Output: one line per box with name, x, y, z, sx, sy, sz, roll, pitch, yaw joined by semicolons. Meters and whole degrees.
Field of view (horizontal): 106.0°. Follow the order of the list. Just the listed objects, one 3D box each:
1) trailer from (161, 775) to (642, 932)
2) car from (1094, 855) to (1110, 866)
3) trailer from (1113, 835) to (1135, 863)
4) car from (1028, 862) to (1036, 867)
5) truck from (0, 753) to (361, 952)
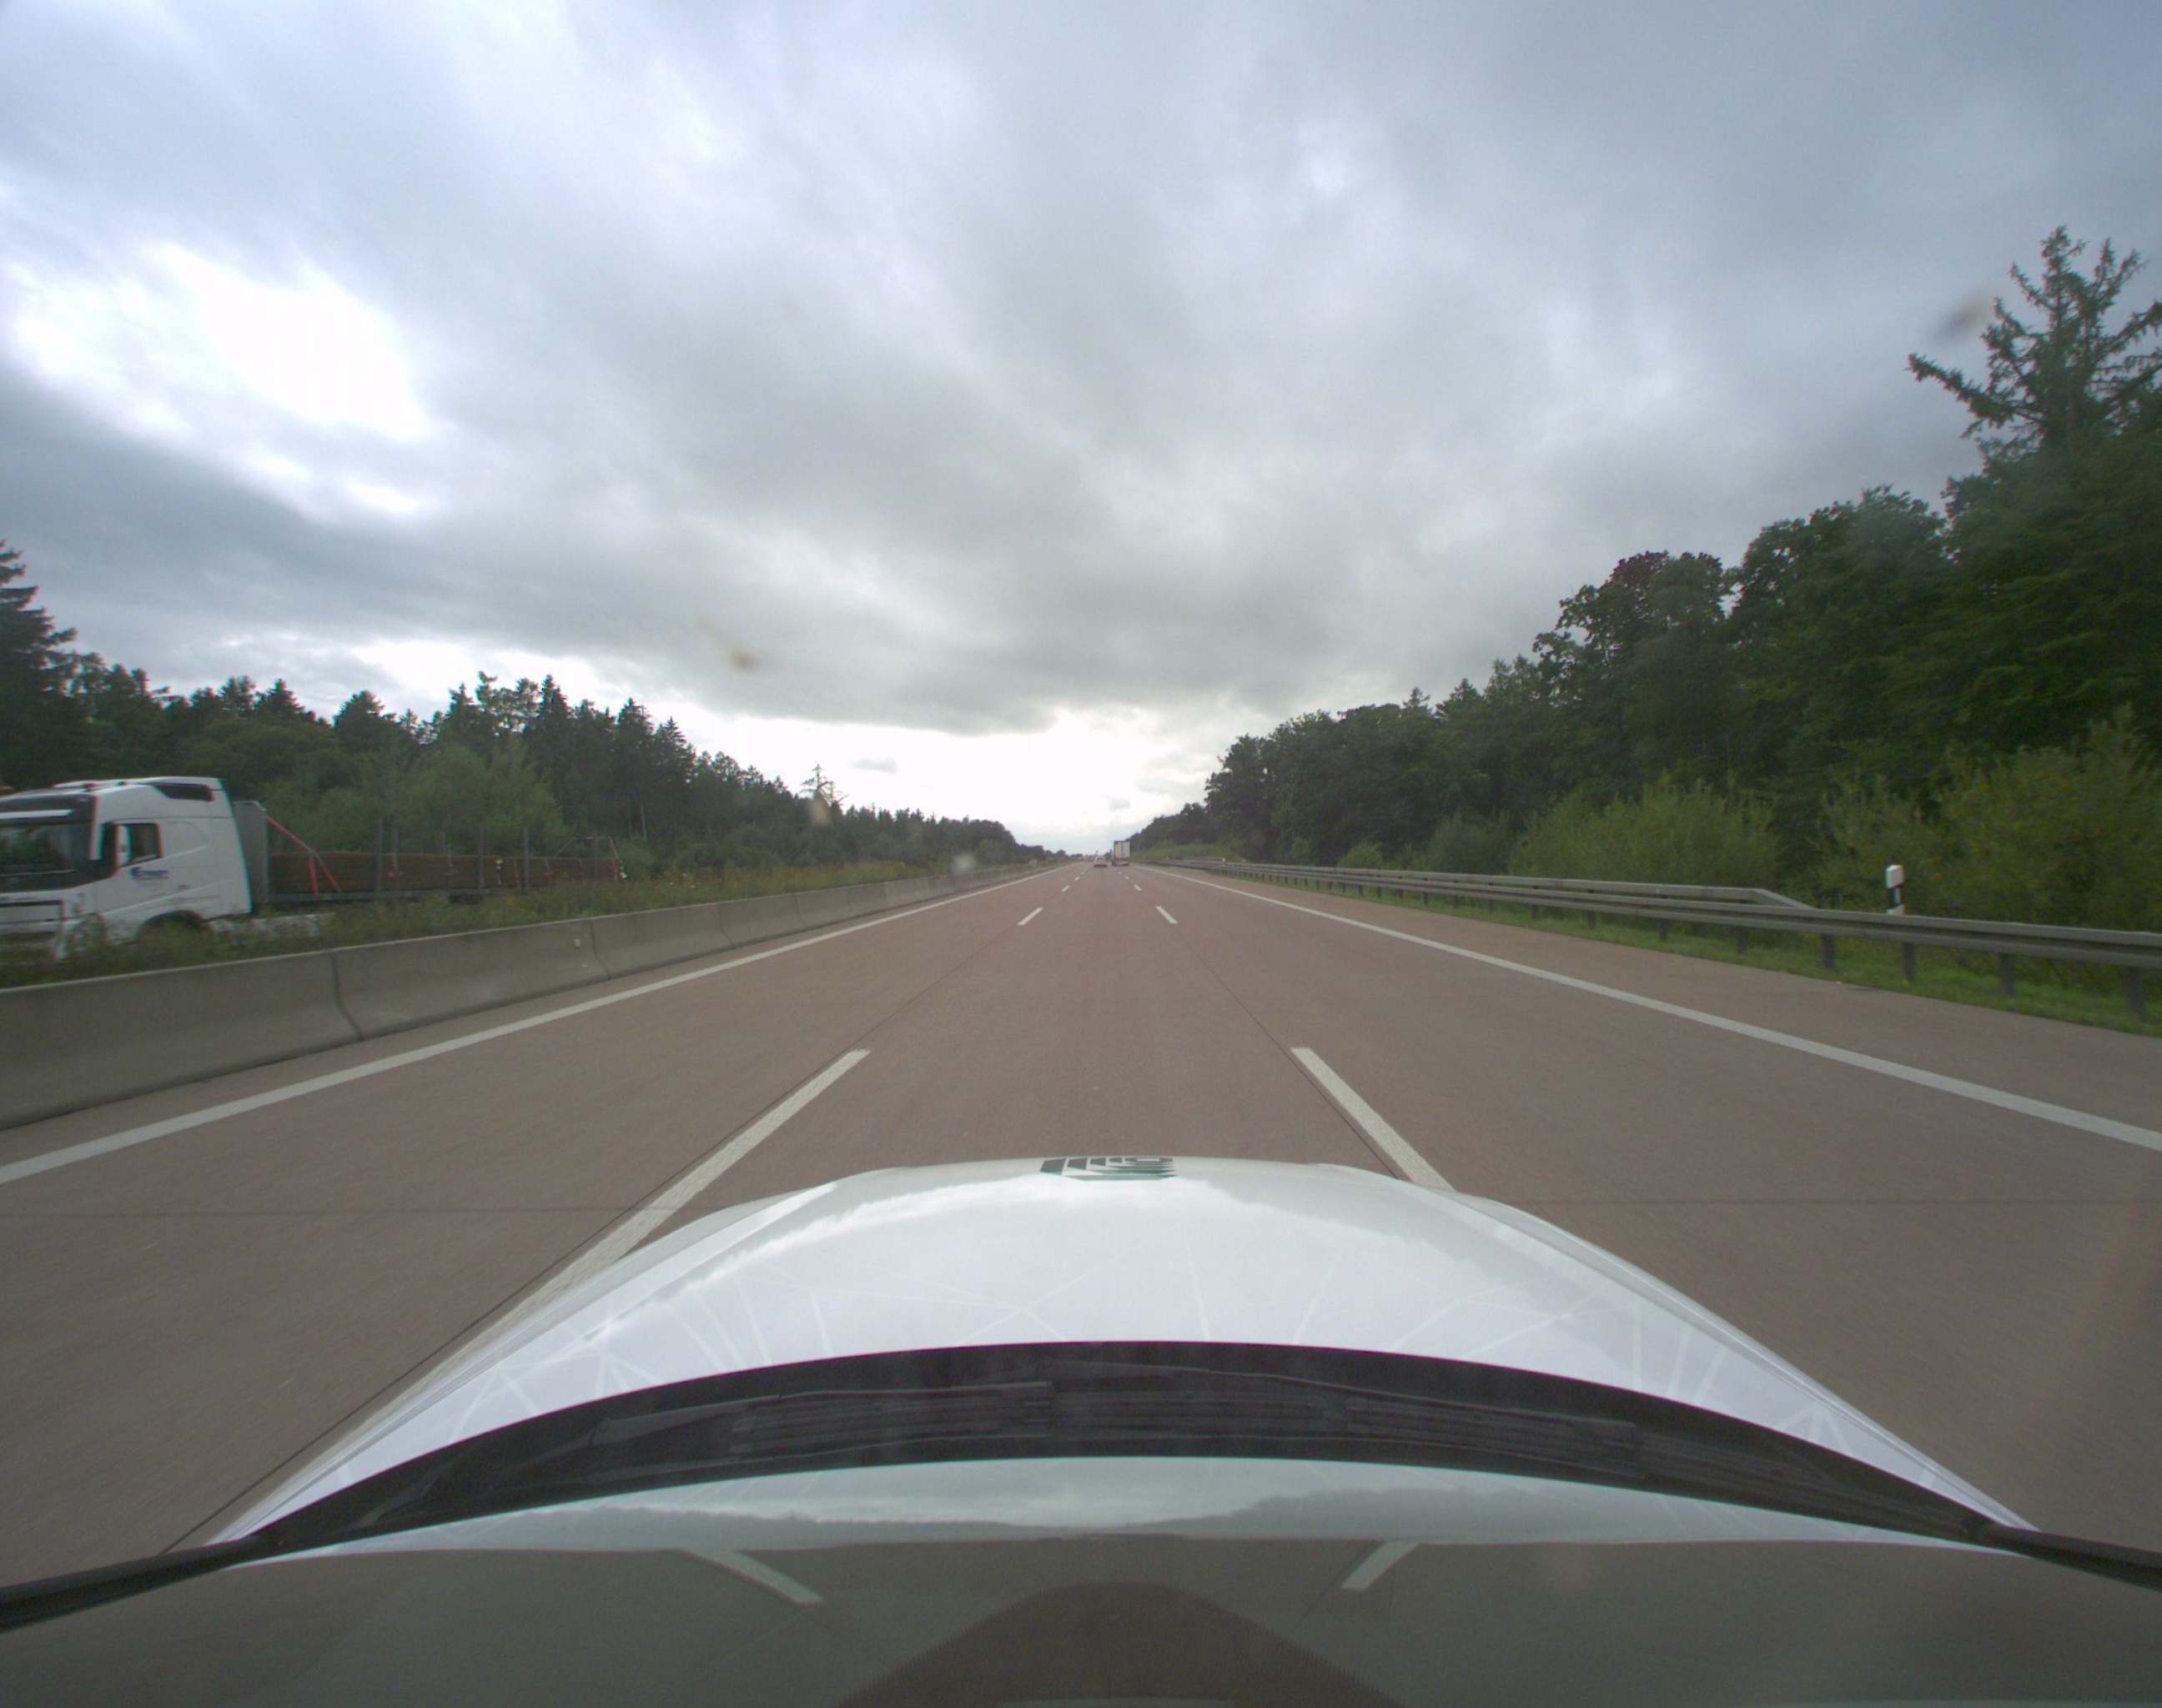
trailer;-18.423;-0.014;24.425;2.923;3.419;13.276;0;0;2
car;2.964;0.926;113.527;2.155;1.451;4.721;0;0;2
trailer;6.931;-0.697;133.232;2.911;4.294;13.614;-1;-1;1
car;-14.754;3.140;244.031;2.117;1.591;5.198;-2;0;0
truck;-18.685;-0.021;16.712;2.923;3.419;5.346;0;0;2
